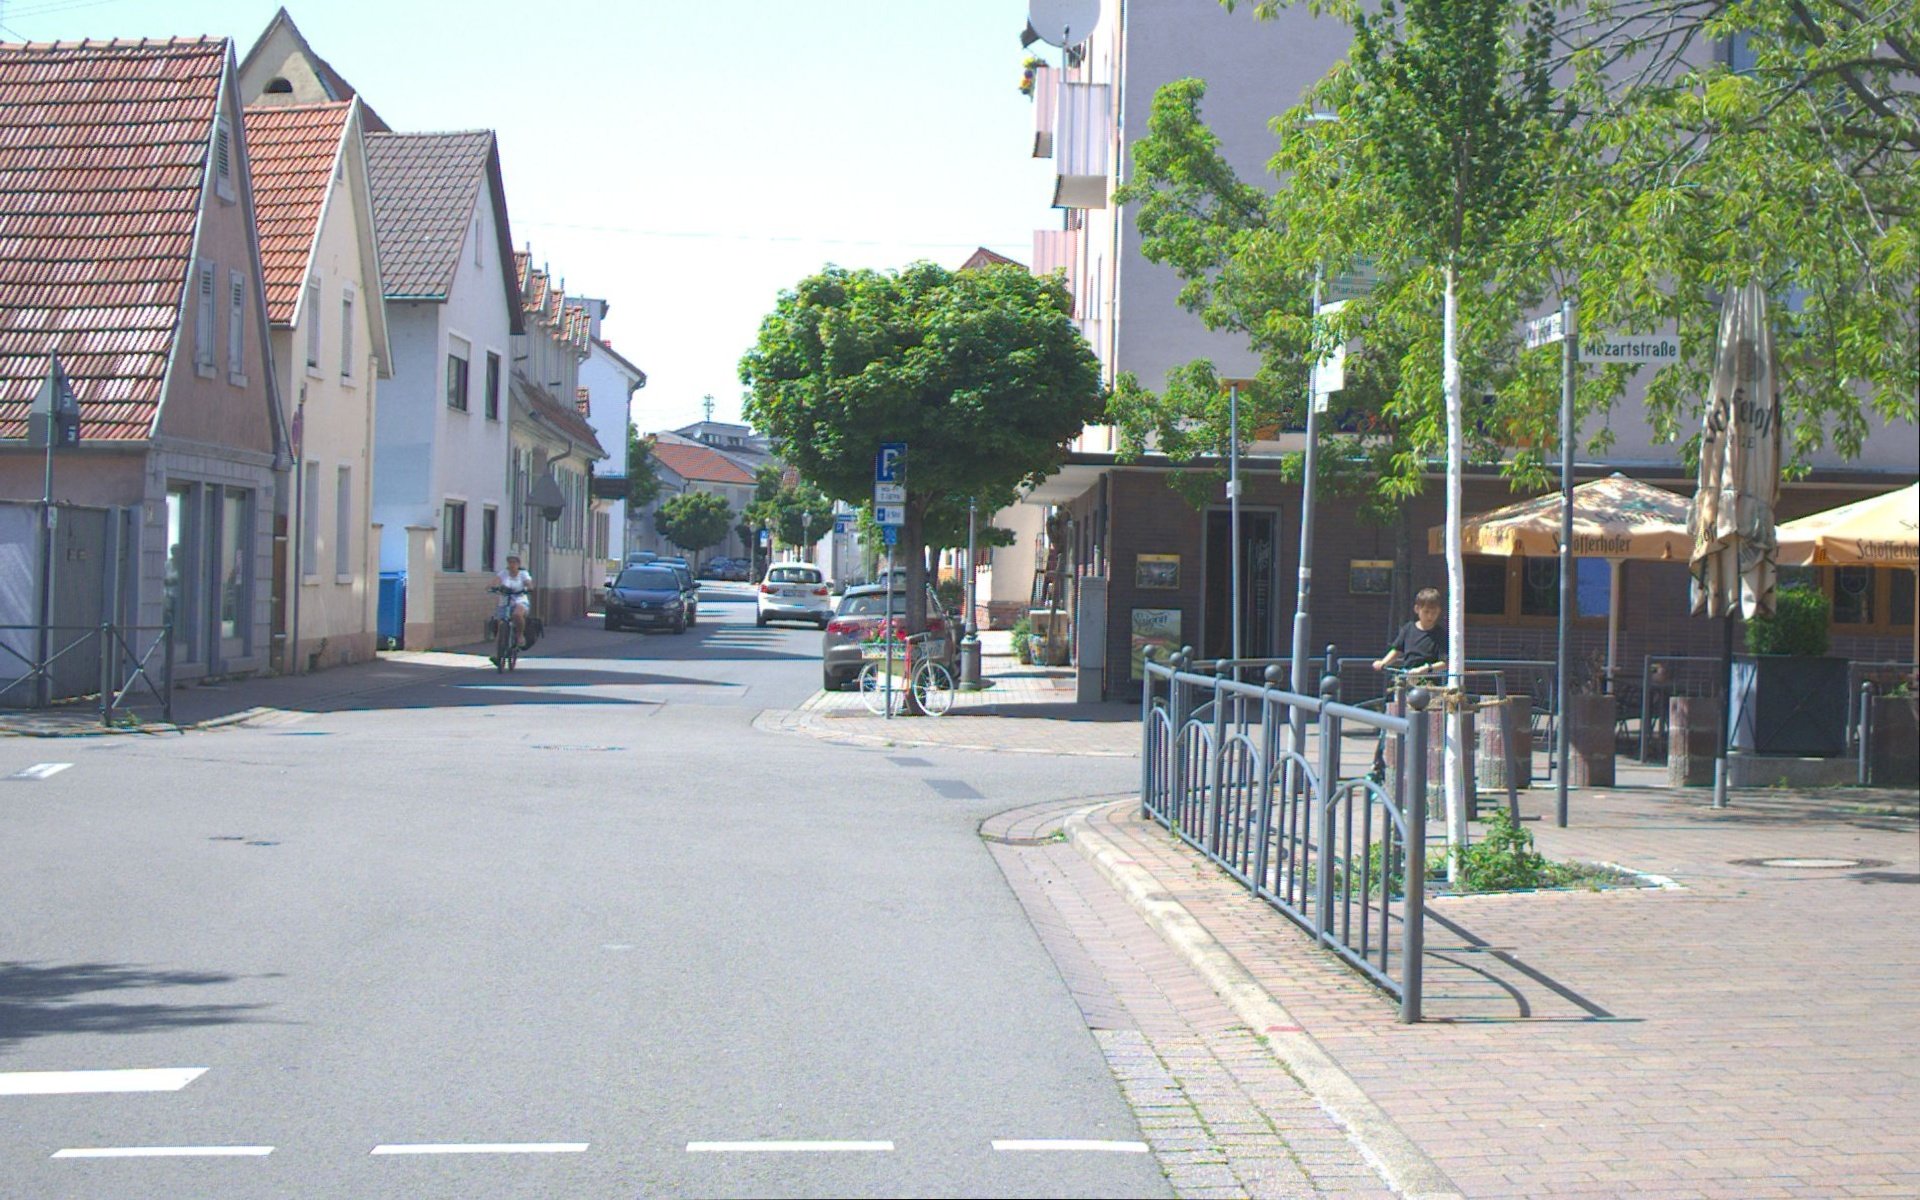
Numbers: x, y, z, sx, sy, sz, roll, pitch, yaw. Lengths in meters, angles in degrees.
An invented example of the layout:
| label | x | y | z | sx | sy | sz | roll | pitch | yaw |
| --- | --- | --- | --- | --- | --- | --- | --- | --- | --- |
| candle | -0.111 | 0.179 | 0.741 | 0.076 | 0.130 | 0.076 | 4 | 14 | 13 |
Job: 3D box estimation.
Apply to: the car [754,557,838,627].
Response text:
| label | x | y | z | sx | sy | sz | roll | pitch | yaw |
| --- | --- | --- | --- | --- | --- | --- | --- | --- | --- |
| car | -4.024 | -0.217 | 84.932 | 1.834 | 1.646 | 4.000 | 1 | 0 | 0 |

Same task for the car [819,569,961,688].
| label | x | y | z | sx | sy | sz | roll | pitch | yaw |
| --- | --- | --- | --- | --- | --- | --- | --- | --- | --- |
| car | -0.923 | 0.361 | 47.409 | 1.805 | 1.496 | 4.000 | 1 | 1 | 1 |

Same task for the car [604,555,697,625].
| label | x | y | z | sx | sy | sz | roll | pitch | yaw |
| --- | --- | --- | --- | --- | --- | --- | --- | --- | --- |
| car | -7.013 | -0.230 | 78.215 | 1.714 | 1.512 | 3.786 | 1 | 0 | 0 |

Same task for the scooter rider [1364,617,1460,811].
| label | x | y | z | sx | sy | sz | roll | pitch | yaw |
| --- | --- | --- | --- | --- | --- | --- | --- | --- | --- |
| scooter rider | 3.053 | 0.763 | 23.231 | 0.416 | 1.281 | 0.518 | 1 | 0 | -21 |

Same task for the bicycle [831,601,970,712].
| label | x | y | z | sx | sy | sz | roll | pitch | yaw |
| --- | --- | --- | --- | --- | --- | --- | --- | --- | --- |
| bicycle | -0.678 | 0.630 | 38.675 | 0.525 | 1.189 | 1.674 | 1 | 0 | -44 |

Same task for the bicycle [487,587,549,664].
| label | x | y | z | sx | sy | sz | roll | pitch | yaw |
| --- | --- | --- | --- | --- | --- | --- | --- | --- | --- |
| bicycle | -6.402 | 0.362 | 49.808 | 0.674 | 1.090 | 1.896 | 0 | 0 | -1 |

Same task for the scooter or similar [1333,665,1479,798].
| label | x | y | z | sx | sy | sz | roll | pitch | yaw |
| --- | --- | --- | --- | --- | --- | --- | --- | --- | --- |
| scooter or similar | 3.011 | 0.889 | 23.223 | 0.887 | 0.870 | 0.380 | 1 | 0 | -21 |

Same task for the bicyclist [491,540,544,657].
| label | x | y | z | sx | sy | sz | roll | pitch | yaw |
| --- | --- | --- | --- | --- | --- | --- | --- | --- | --- |
| bicyclist | -6.399 | -0.026 | 49.693 | 0.669 | 1.685 | 0.761 | 0 | 0 | -1 |
